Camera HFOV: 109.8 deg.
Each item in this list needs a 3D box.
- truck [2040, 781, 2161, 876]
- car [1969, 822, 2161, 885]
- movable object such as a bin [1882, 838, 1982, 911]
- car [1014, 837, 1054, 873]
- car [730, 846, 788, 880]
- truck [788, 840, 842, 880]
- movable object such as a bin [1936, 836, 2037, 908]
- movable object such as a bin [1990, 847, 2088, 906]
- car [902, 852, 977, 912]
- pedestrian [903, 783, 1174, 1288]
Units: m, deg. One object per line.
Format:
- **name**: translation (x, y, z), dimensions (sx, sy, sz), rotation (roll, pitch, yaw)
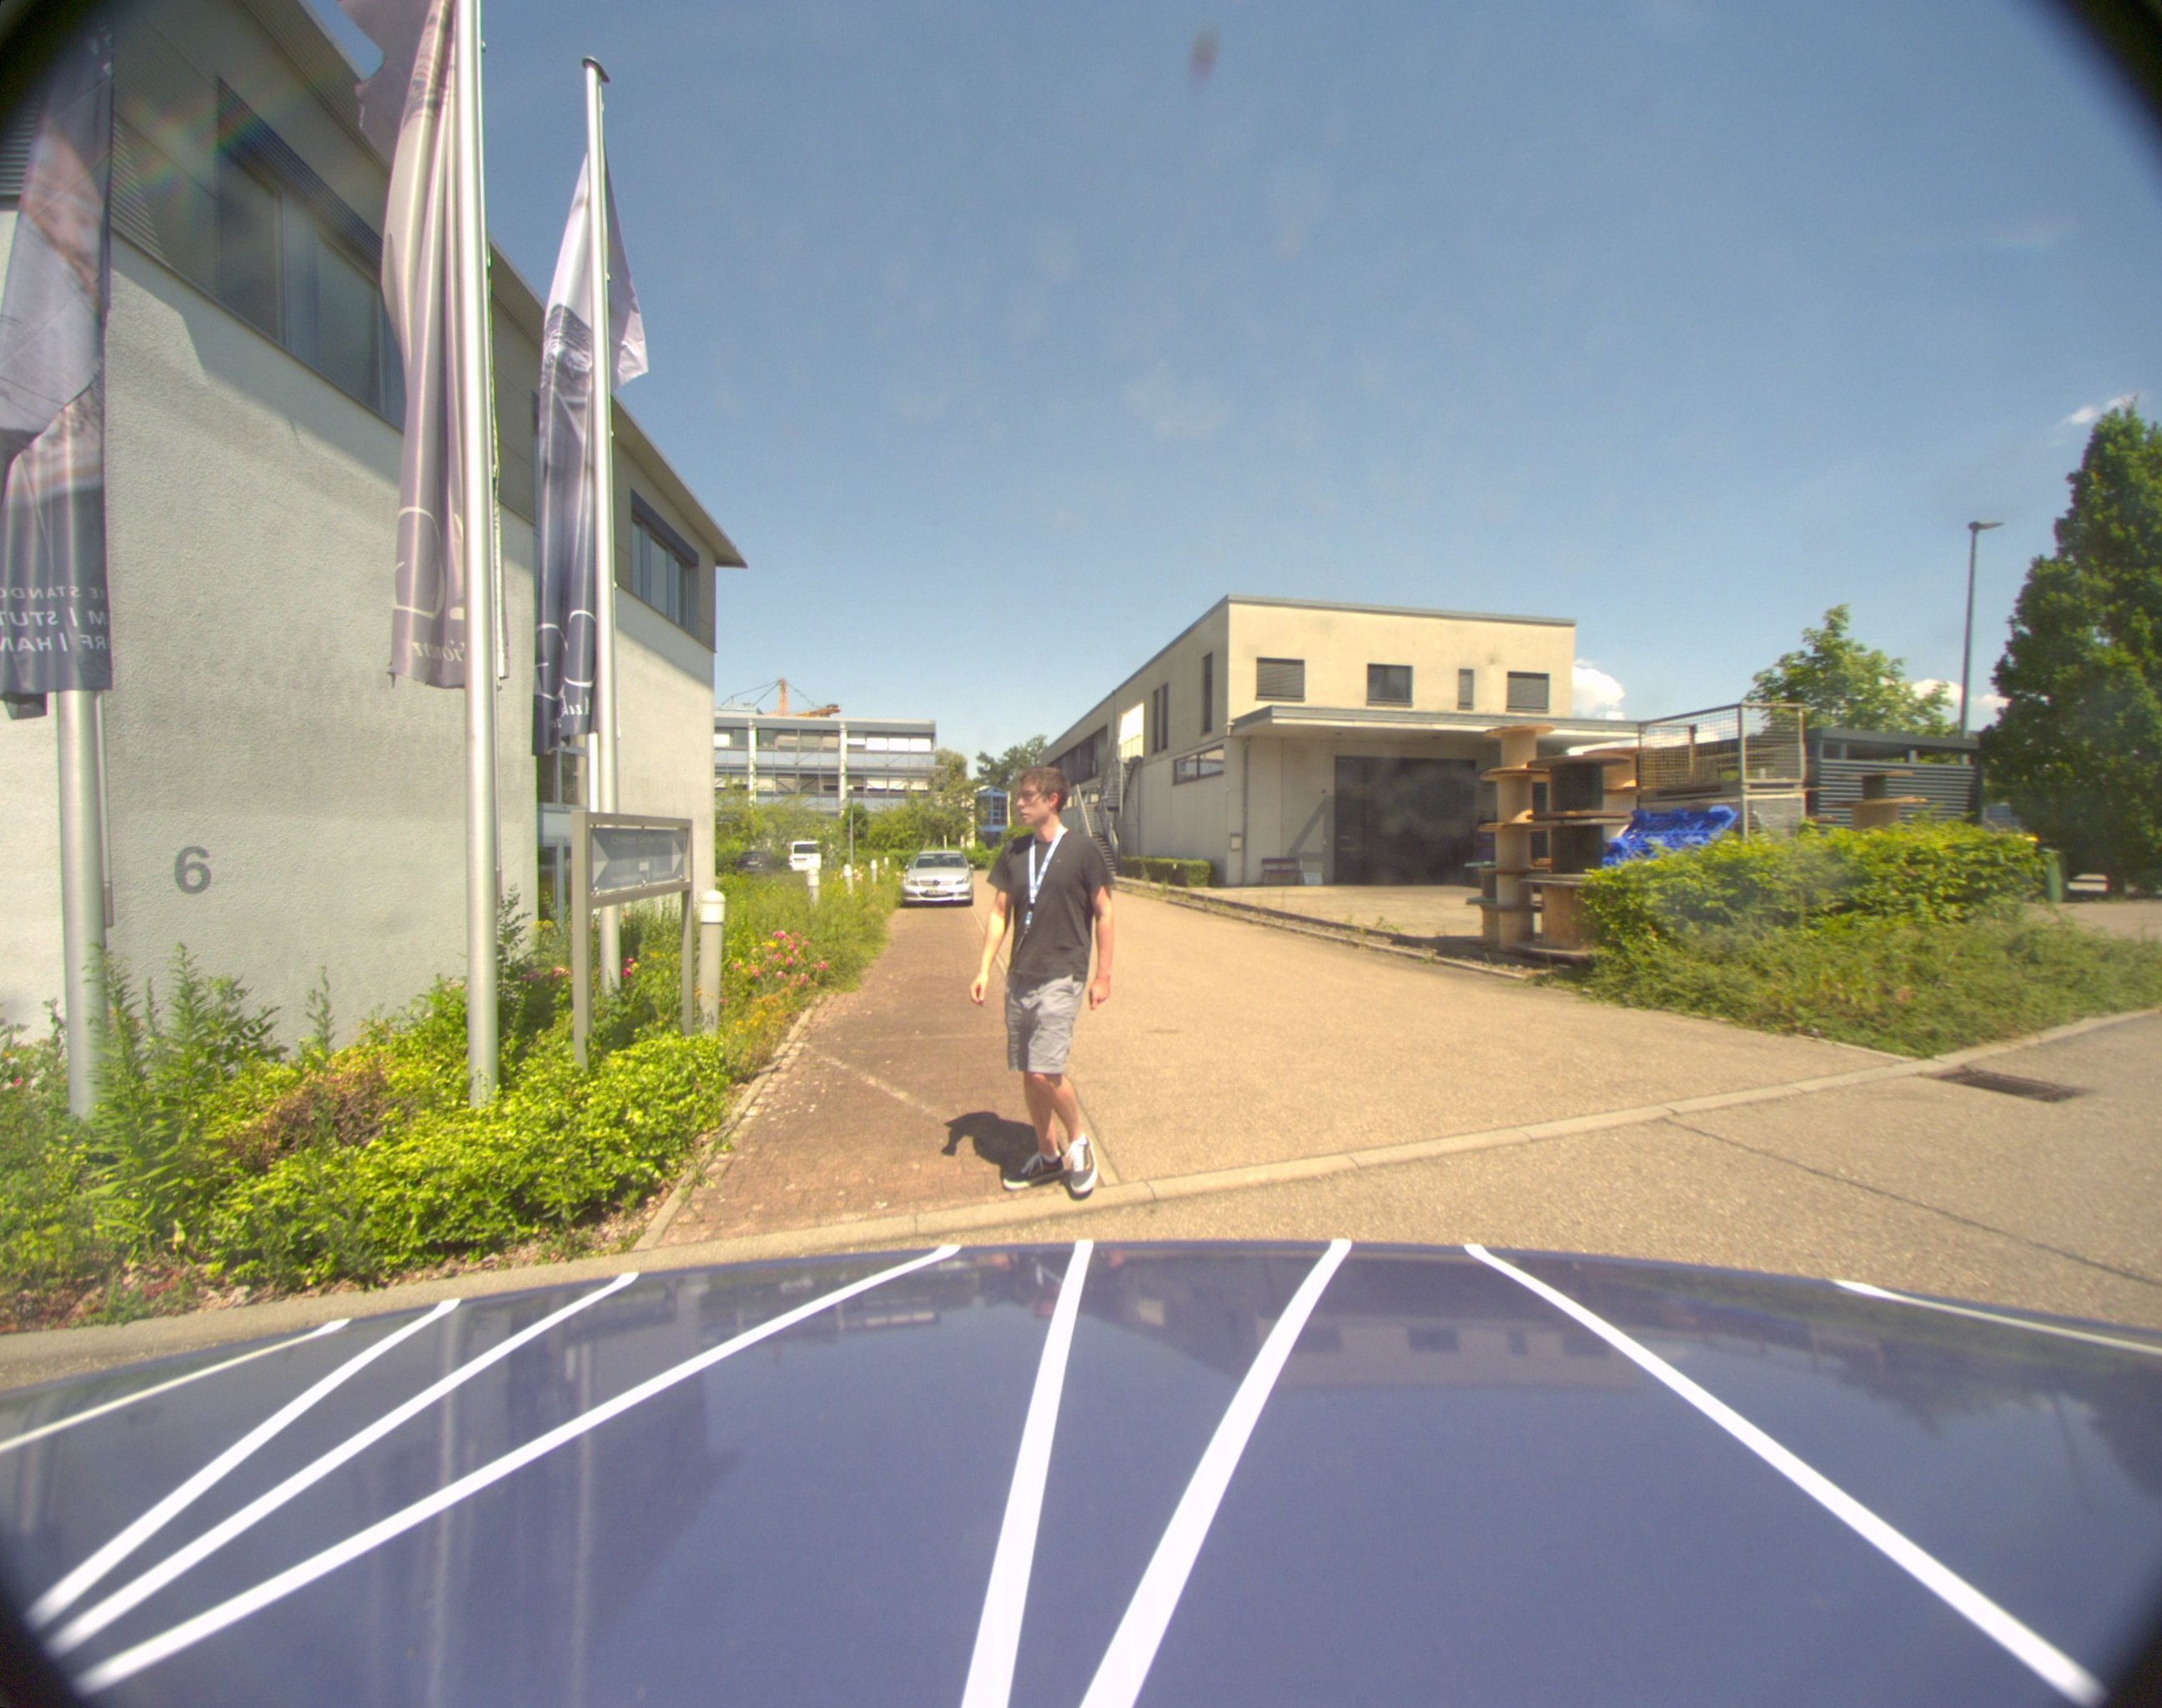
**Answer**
- **truck**: translation (32.840, -0.792, 22.951), dimensions (5.698, 2.657, 2.416), rotation (-1, 1, -10)
- **car**: translation (26.689, -0.042, 19.758), dimensions (1.960, 1.505, 4.255), rotation (-1, 1, -9)
- **movable object such as a bin**: translation (16.044, 0.370, 14.344), dimensions (1.072, 1.329, 0.759), rotation (-1, 2, -6)
- **car**: translation (-2.619, 0.013, 41.500), dimensions (1.789, 1.794, 3.996), rotation (-1, 2, -9)
- **car**: translation (-16.345, 0.414, 38.752), dimensions (1.789, 1.537, 3.995), rotation (-1, 2, -10)
- **truck**: translation (-13.429, 0.238, 38.602), dimensions (2.000, 1.883, 3.995), rotation (-2, 1, -12)
- **movable object such as a bin**: translation (17.374, 0.326, 14.592), dimensions (1.072, 1.329, 0.759), rotation (-1, 2, -6)
- **movable object such as a bin**: translation (18.481, 0.426, 14.677), dimensions (0.988, 1.078, 0.759), rotation (-1, 2, -6)
- **car**: translation (-3.713, 0.677, 20.446), dimensions (1.712, 1.383, 3.808), rotation (0, 1, -7)
- **pedestrian**: translation (-0.124, 0.651, 3.258), dimensions (0.859, 1.810, 0.905), rotation (-1, 2, 17)
